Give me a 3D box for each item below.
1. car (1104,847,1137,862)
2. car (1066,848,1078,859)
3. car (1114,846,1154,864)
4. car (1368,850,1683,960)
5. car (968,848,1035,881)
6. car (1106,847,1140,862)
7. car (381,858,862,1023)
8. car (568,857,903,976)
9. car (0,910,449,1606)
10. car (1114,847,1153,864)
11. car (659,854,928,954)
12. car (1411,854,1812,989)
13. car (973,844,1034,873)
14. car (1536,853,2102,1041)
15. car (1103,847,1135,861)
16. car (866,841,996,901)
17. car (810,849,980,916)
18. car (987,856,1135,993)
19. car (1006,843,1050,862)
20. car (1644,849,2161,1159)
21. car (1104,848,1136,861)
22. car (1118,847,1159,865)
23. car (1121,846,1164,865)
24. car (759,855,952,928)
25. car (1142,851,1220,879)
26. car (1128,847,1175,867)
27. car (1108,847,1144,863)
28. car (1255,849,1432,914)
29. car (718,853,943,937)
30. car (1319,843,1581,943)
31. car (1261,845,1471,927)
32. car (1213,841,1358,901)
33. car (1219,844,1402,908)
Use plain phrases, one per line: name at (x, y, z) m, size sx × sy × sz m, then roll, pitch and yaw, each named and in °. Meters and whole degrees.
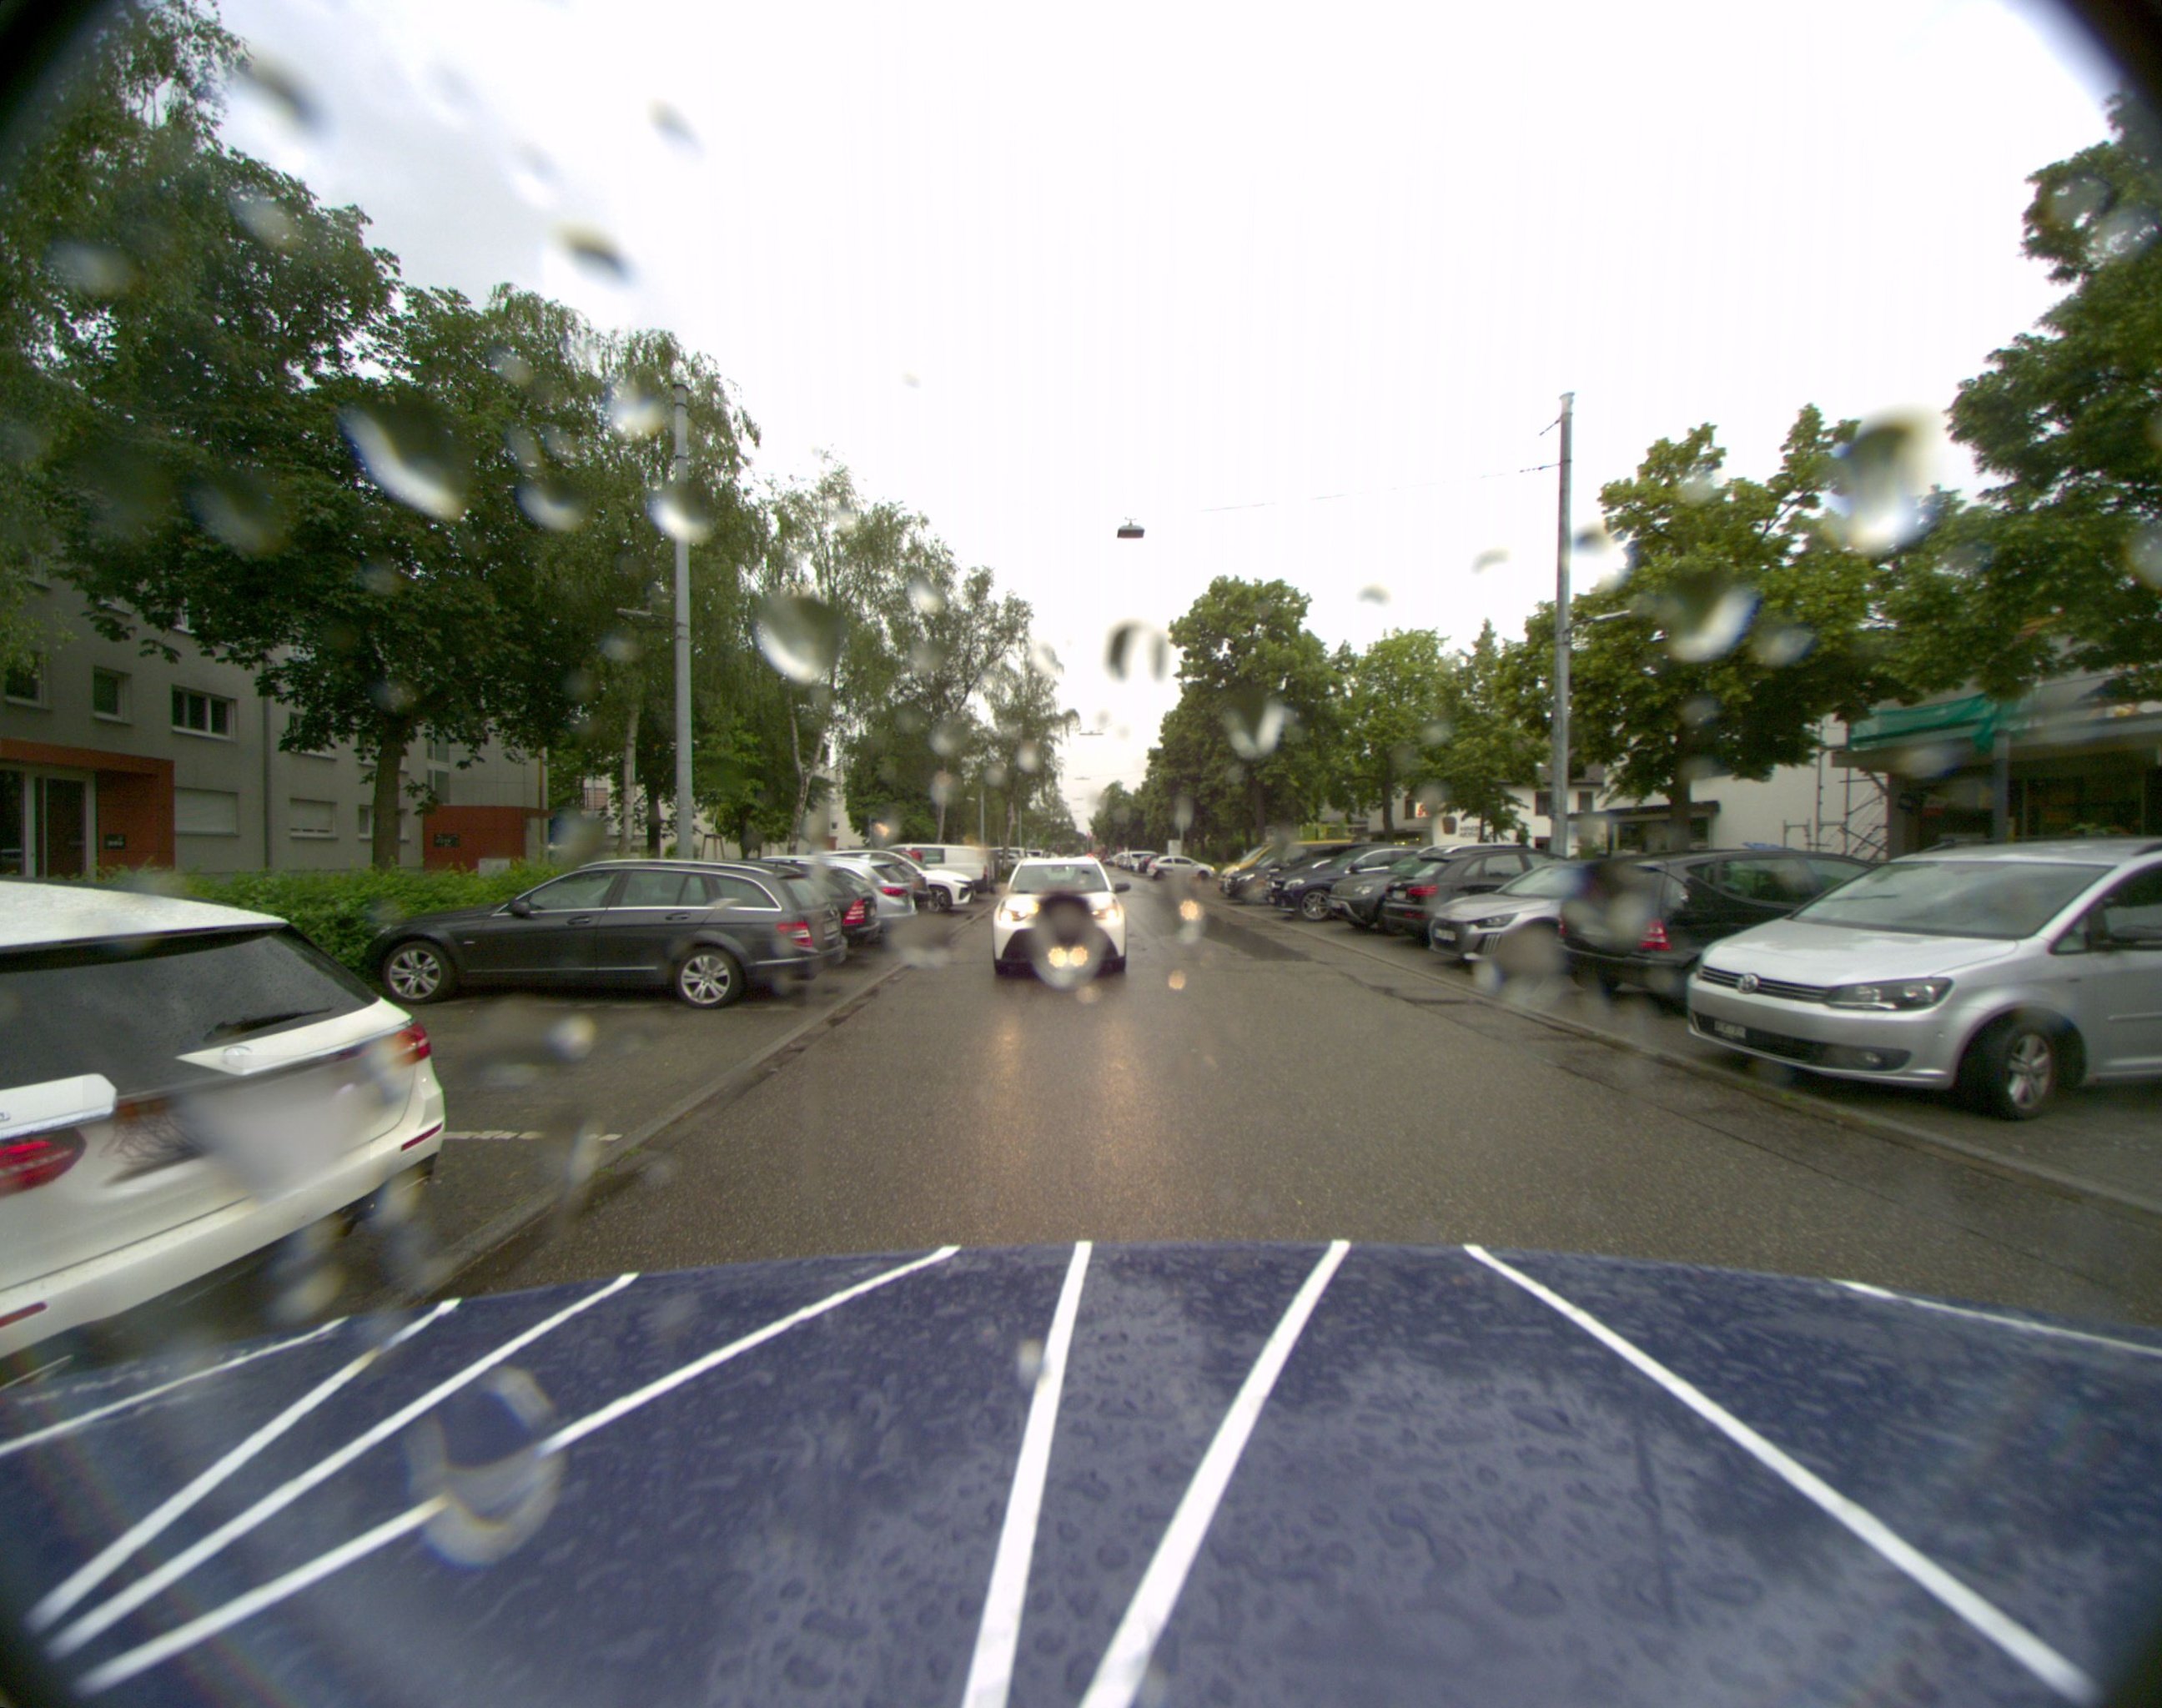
car at (5.025, 0.032, 96.940) m, size 3.998 × 1.675 × 1.999 m, roll -2°, pitch 1°, yaw -3°
car at (-1.551, -0.032, 132.547) m, size 1.998 × 1.804 × 3.999 m, roll -2°, pitch 1°, yaw 1°
car at (5.661, 0.107, 81.169) m, size 3.998 × 1.675 × 1.999 m, roll -2°, pitch 1°, yaw -3°
car at (7.261, 0.784, 12.678) m, size 4.283 × 1.586 × 1.715 m, roll -2°, pitch 1°, yaw -2°
car at (-5.116, 0.667, 49.265) m, size 3.995 × 1.902 × 1.902 m, roll -2°, pitch 1°, yaw 4°
car at (5.216, 0.057, 94.419) m, size 3.998 × 1.675 × 1.999 m, roll -2°, pitch 1°, yaw -3°
car at (-4.611, 0.849, 8.110) m, size 4.049 × 1.431 × 1.680 m, roll 2°, pitch 1°, yaw -3°
car at (-4.808, 0.851, 11.021) m, size 4.049 × 1.431 × 1.680 m, roll 2°, pitch 1°, yaw -3°
car at (-4.756, 0.916, 2.070) m, size 4.623 × 1.431 × 1.680 m, roll 2°, pitch 1°, yaw 0°
car at (5.784, 0.173, 83.756) m, size 3.998 × 1.675 × 1.999 m, roll -2°, pitch 1°, yaw -3°
car at (-4.865, 0.822, 13.289) m, size 4.049 × 1.488 × 1.680 m, roll 2°, pitch 1°, yaw -3°
car at (7.003, 0.834, 10.313) m, size 4.283 × 1.523 × 1.715 m, roll -2°, pitch 1°, yaw -2°
car at (-5.475, 0.288, 54.094) m, size 3.995 × 1.902 × 1.902 m, roll -2°, pitch 1°, yaw 4°
car at (7.262, 0.837, 7.756) m, size 4.283 × 1.556 × 1.635 m, roll -2°, pitch 1°, yaw -2°
car at (4.968, 0.005, 99.174) m, size 3.998 × 1.675 × 1.999 m, roll -2°, pitch 1°, yaw -3°
car at (-5.093, 0.571, 26.184) m, size 4.182 × 1.856 × 1.679 m, roll 2°, pitch 1°, yaw -6°
car at (-5.033, 0.754, 20.909) m, size 4.179 × 1.609 × 1.680 m, roll 2°, pitch 1°, yaw 1°
car at (-0.323, 0.858, 11.249) m, size 1.733 × 1.519 × 4.138 m, roll -2°, pitch 1°, yaw -3°
car at (-5.240, -0.140, 75.013) m, size 3.995 × 1.670 × 1.902 m, roll -2°, pitch 1°, yaw 4°
car at (6.611, 0.838, 5.210) m, size 4.283 × 1.625 × 1.715 m, roll -2°, pitch 1°, yaw -2°
car at (5.205, 0.053, 101.617) m, size 3.998 × 1.675 × 1.999 m, roll -2°, pitch 1°, yaw -3°
car at (5.934, 0.231, 78.502) m, size 3.998 × 1.675 × 1.999 m, roll -2°, pitch 1°, yaw -3°
car at (6.076, 0.160, 75.826) m, size 3.998 × 1.675 × 1.999 m, roll -2°, pitch 1°, yaw -3°
car at (-5.197, 0.840, 17.902) m, size 4.049 × 1.488 × 1.680 m, roll 2°, pitch 1°, yaw -3°
car at (5.841, 0.614, 44.589) m, size 4.254 × 1.446 × 1.999 m, roll -2°, pitch 1°, yaw -1°
car at (6.379, 0.238, 68.876) m, size 3.998 × 1.675 × 1.999 m, roll -2°, pitch 1°, yaw -3°
car at (5.333, 0.106, 90.312) m, size 3.998 × 1.675 × 1.999 m, roll -2°, pitch 1°, yaw -3°
car at (7.196, 0.722, 21.057) m, size 4.283 × 1.617 × 1.715 m, roll -2°, pitch 1°, yaw -2°
car at (-5.004, 0.797, 15.616) m, size 4.049 × 1.488 × 1.680 m, roll 2°, pitch 1°, yaw -3°
car at (7.090, 0.702, 14.862) m, size 4.283 × 1.717 × 1.715 m, roll -2°, pitch 1°, yaw -2°
car at (6.628, 0.707, 17.941) m, size 4.283 × 1.717 × 1.715 m, roll -2°, pitch 1°, yaw -2°
car at (7.175, 0.568, 26.937) m, size 4.657 × 1.947 × 1.715 m, roll -2°, pitch 1°, yaw -2°
car at (7.111, 0.640, 23.845) m, size 5.177 × 1.789 × 1.715 m, roll -2°, pitch 1°, yaw -2°
